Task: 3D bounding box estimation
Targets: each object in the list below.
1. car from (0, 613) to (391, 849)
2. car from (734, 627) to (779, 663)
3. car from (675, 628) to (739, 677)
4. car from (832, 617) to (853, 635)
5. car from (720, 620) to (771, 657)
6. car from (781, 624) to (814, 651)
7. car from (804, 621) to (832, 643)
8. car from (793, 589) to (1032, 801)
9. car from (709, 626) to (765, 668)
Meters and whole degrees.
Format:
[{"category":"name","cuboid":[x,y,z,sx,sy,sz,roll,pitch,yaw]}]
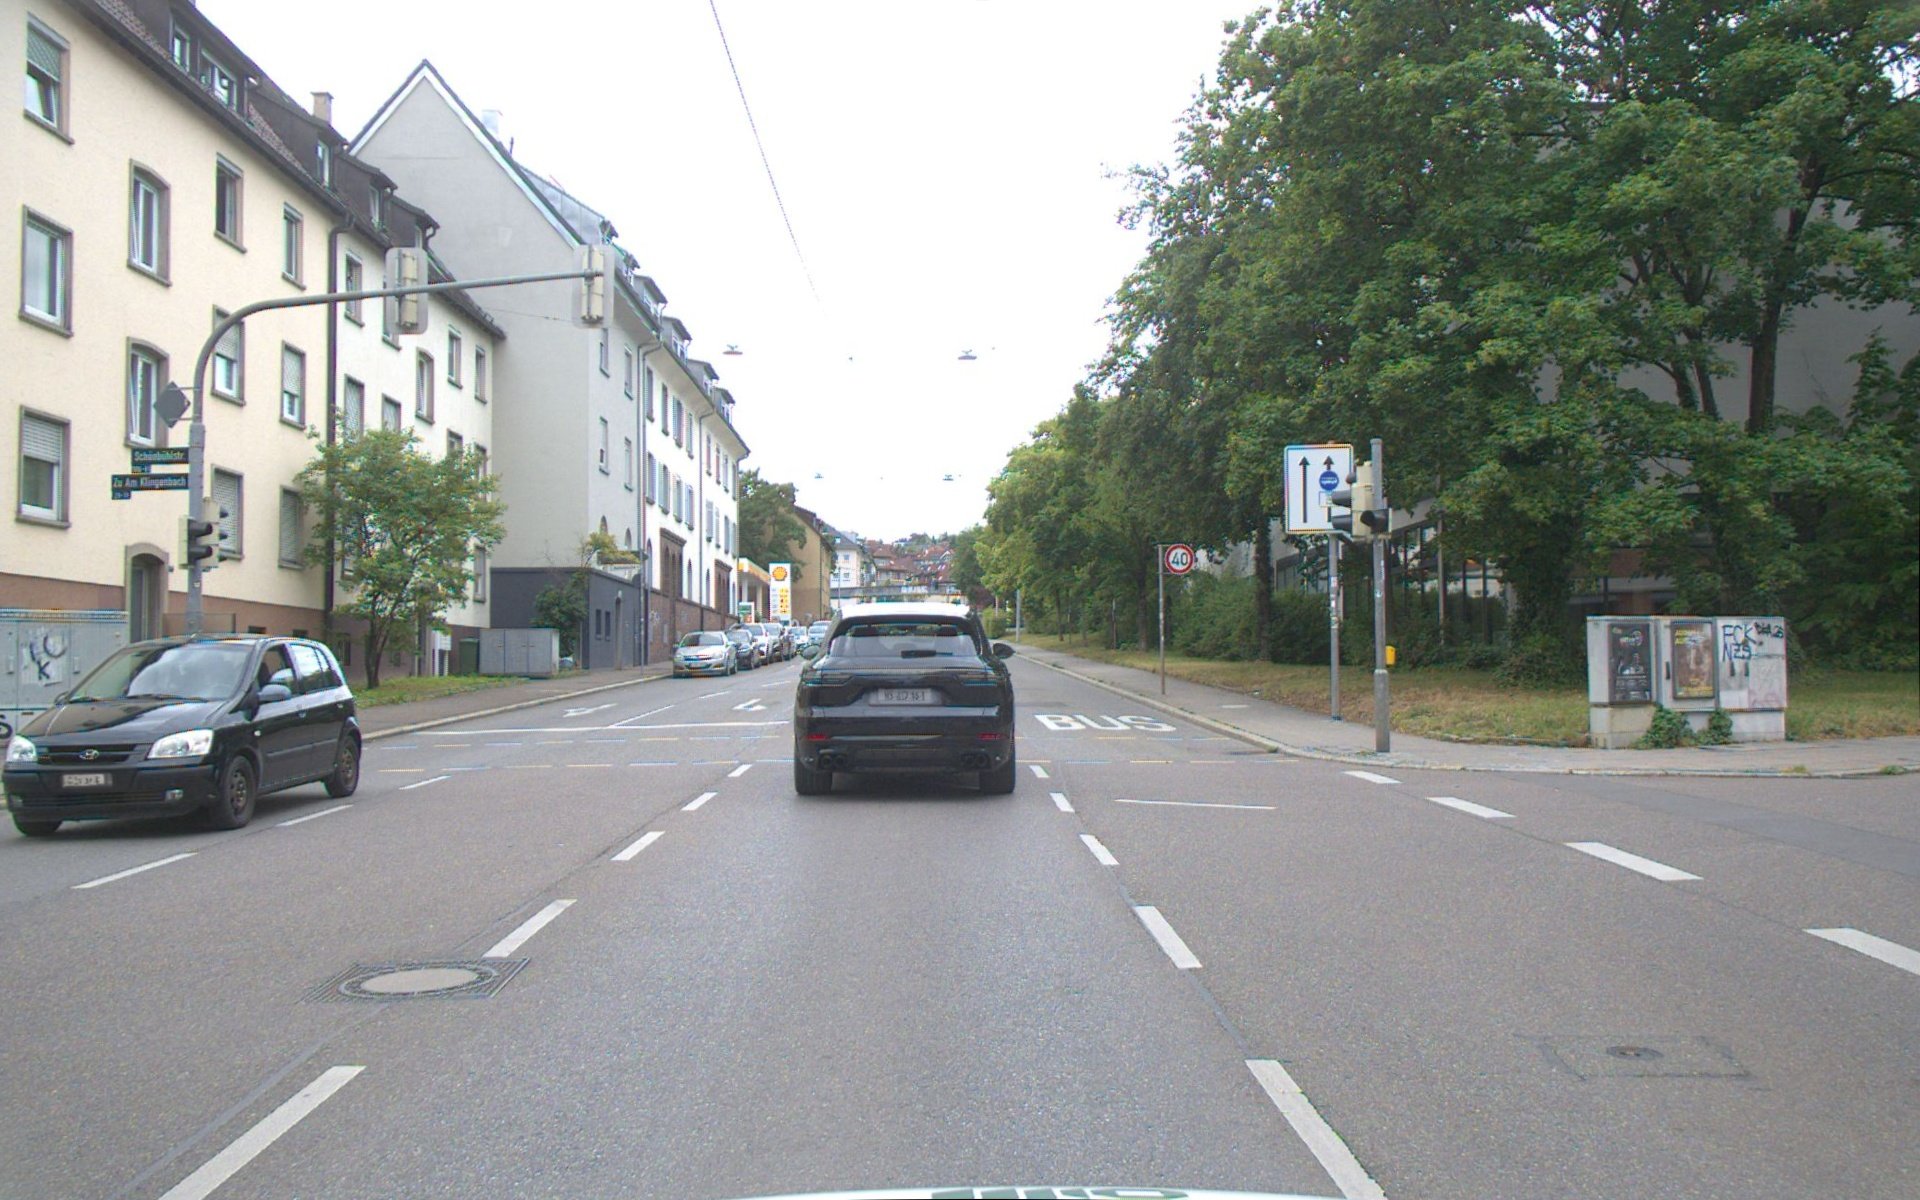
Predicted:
[{"category":"car","cuboid":[-6.207,0.952,13.661,1.630,1.545,3.739,-4,0,0]},{"category":"car","cuboid":[-8.665,1.896,70.659,1.636,1.386,3.998,0,0,-3]},{"category":"car","cuboid":[-7.926,1.615,52.107,1.637,1.386,3.997,0,0,-4]},{"category":"car","cuboid":[-9.553,2.118,134.657,1.636,1.386,3.998,0,0,-3]},{"category":"car","cuboid":[-8.465,1.503,65.542,1.636,1.386,3.998,0,0,-3]},{"category":"car","cuboid":[-8.891,2.026,90.705,1.636,1.386,3.998,0,0,-3]},{"category":"car","cuboid":[-9.262,2.085,108.177,1.636,1.386,3.998,0,0,-3]},{"category":"car","cuboid":[-0.423,0.779,15.688,1.953,1.726,3.999,1,0,-1]},{"category":"car","cuboid":[-7.990,1.656,59.613,1.636,1.386,3.998,0,0,-3]}]
